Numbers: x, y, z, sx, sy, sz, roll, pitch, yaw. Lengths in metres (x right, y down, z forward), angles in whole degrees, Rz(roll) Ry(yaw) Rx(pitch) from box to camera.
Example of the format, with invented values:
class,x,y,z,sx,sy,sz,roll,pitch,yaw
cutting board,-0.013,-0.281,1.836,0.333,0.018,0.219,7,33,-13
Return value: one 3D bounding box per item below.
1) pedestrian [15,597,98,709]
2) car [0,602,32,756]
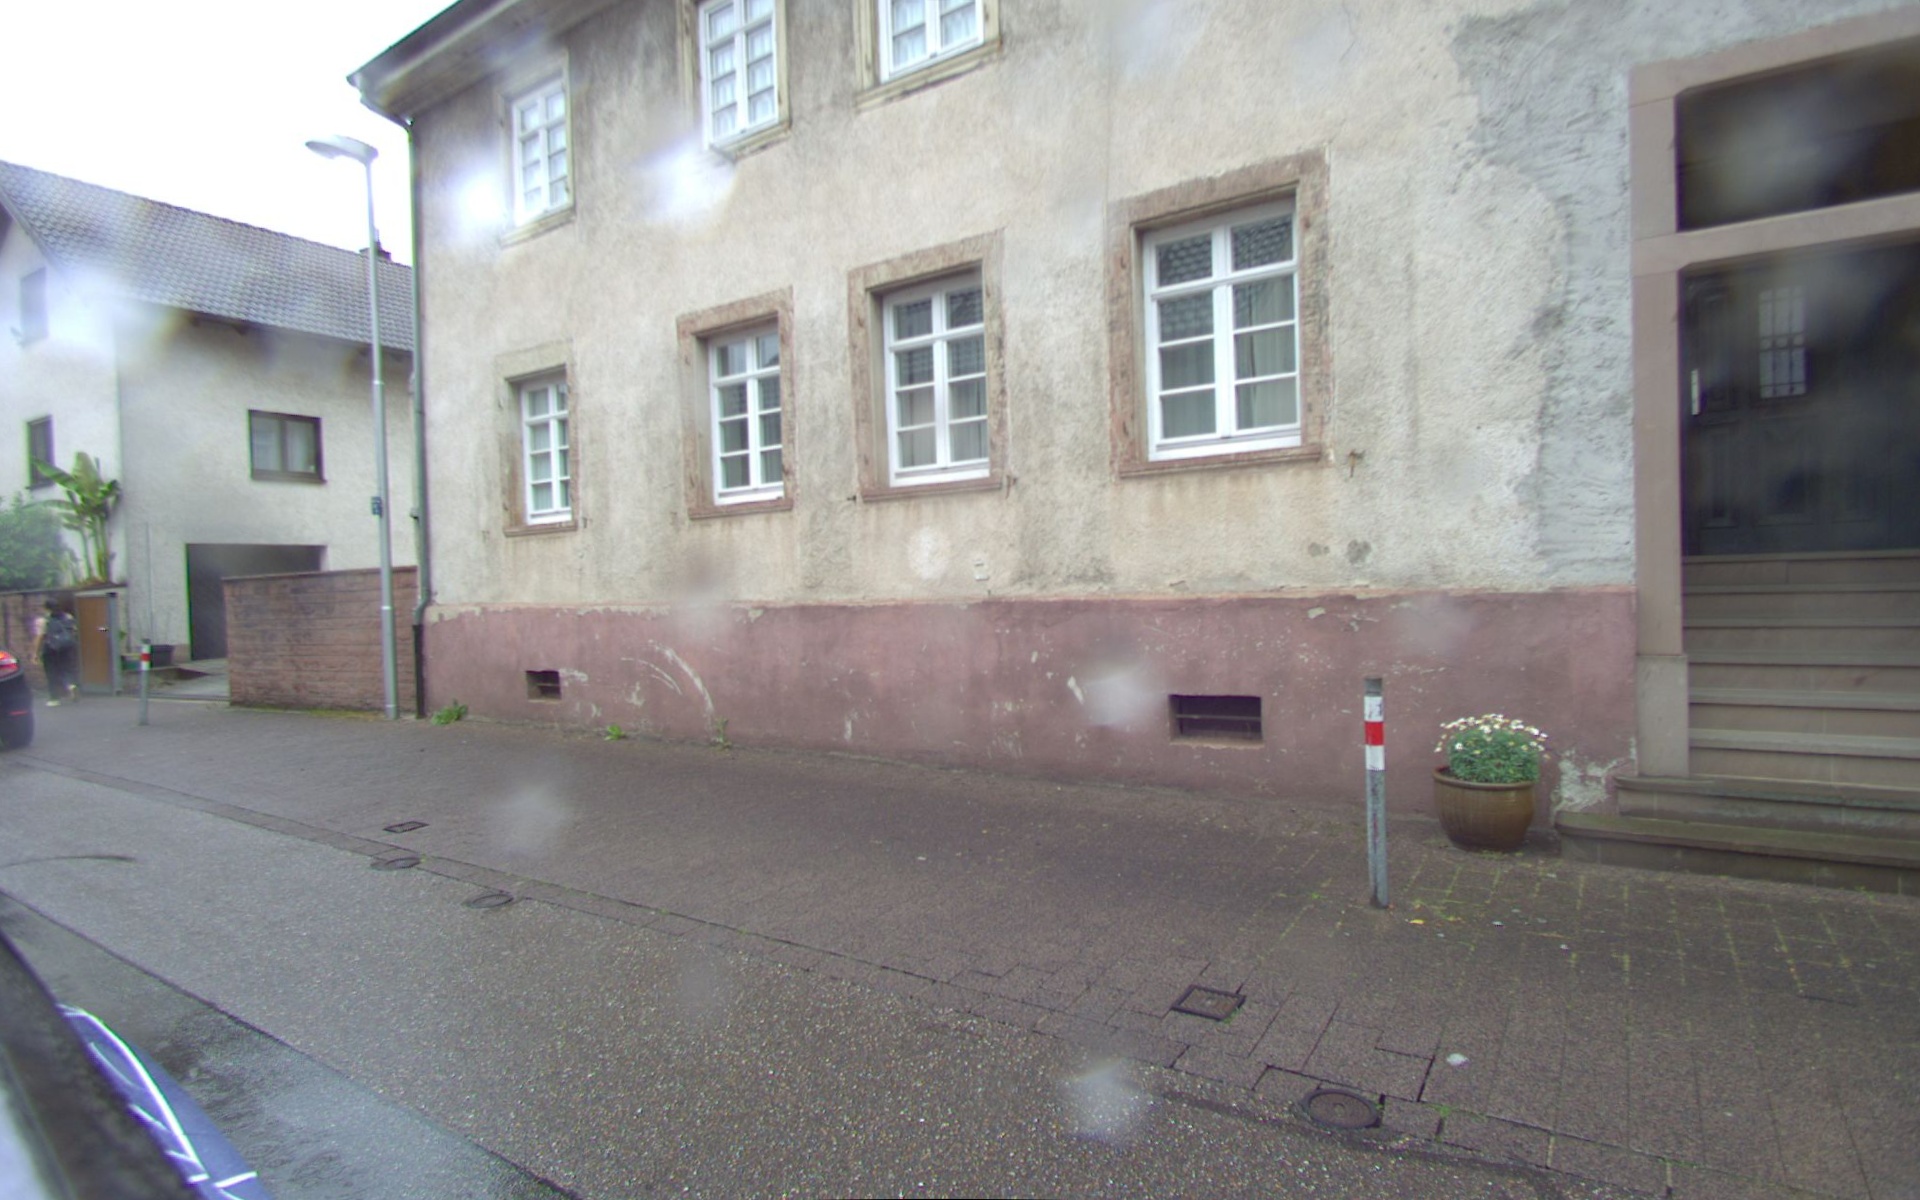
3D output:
class,x,y,z,sx,sy,sz,roll,pitch,yaw
pedestrian,-13.059,0.748,14.635,0.829,1.549,0.568,-1,2,29
car,-11.414,0.834,10.597,3.676,1.524,1.592,-1,1,33
